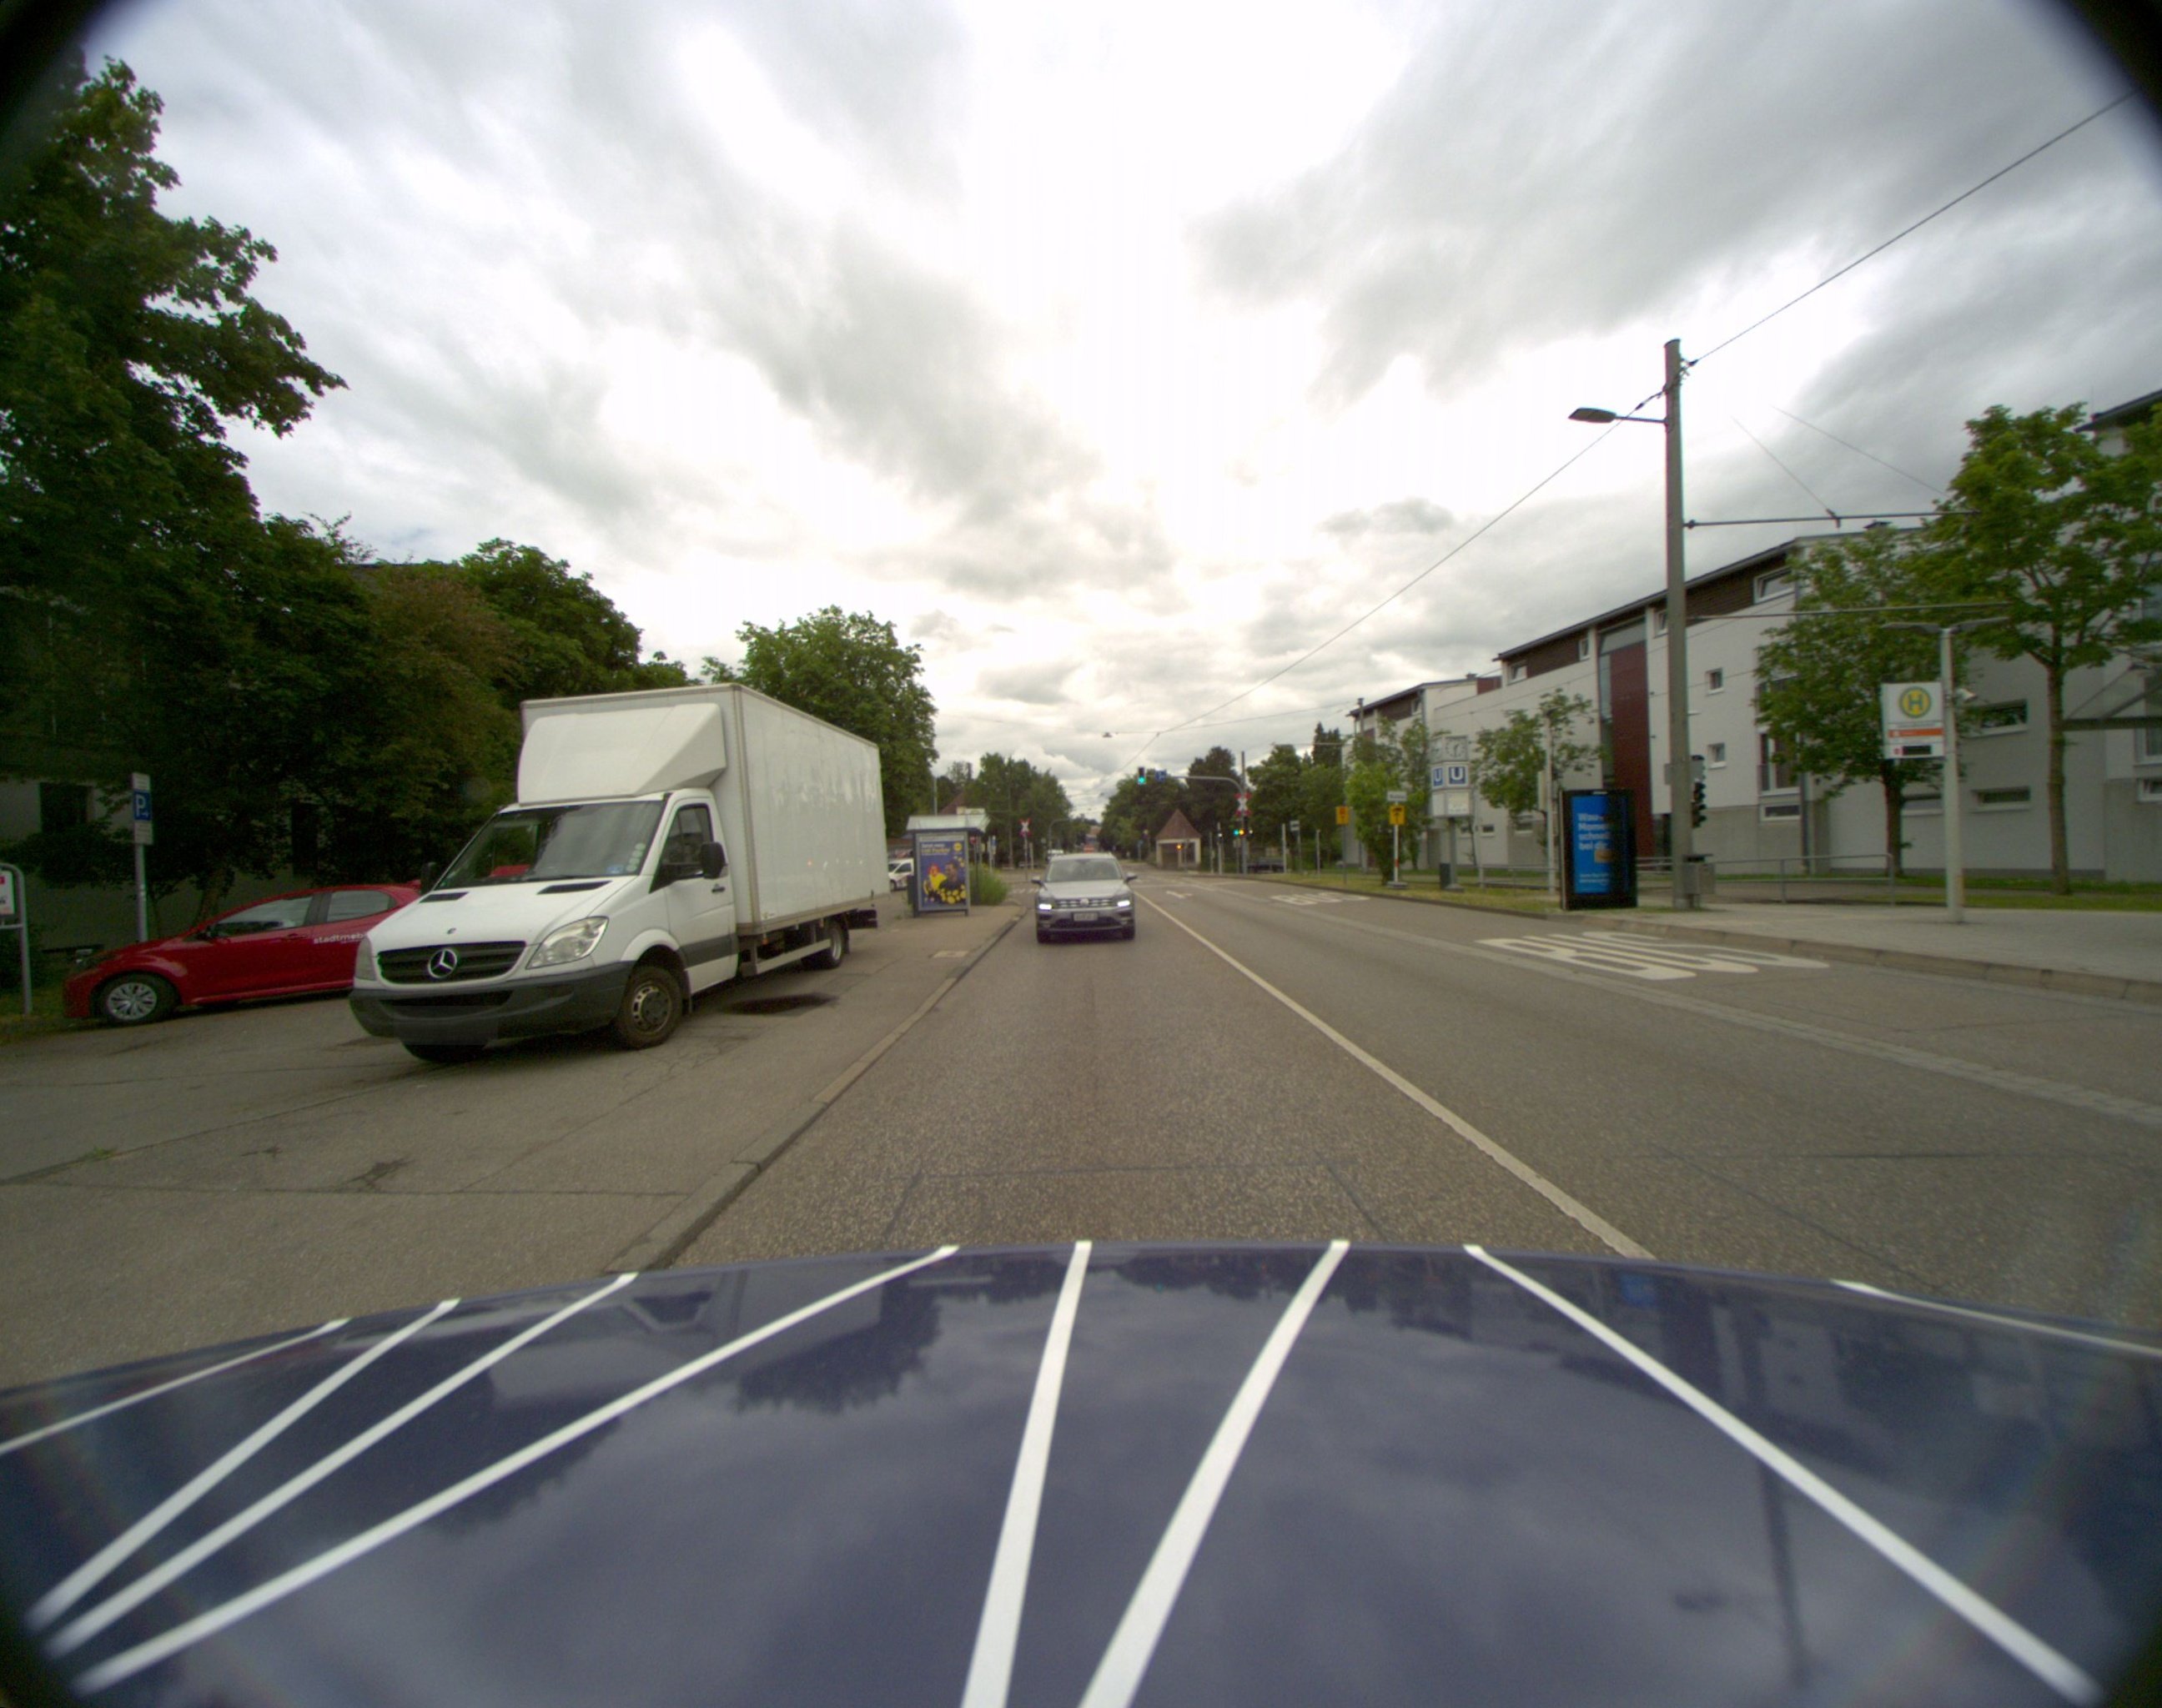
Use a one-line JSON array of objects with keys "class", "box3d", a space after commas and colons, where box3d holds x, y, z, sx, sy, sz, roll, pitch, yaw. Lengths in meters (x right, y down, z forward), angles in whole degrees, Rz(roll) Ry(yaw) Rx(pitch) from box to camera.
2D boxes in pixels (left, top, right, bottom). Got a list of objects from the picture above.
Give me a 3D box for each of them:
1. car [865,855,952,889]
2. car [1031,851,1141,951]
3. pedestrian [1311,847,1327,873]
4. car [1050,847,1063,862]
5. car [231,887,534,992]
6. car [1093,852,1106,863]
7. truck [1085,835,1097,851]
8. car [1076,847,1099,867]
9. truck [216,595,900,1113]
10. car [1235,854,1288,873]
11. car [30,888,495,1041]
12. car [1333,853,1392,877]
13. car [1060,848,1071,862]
[{"class": "car", "box3d": [-9.843, 1.017, 43.688, 1.846, 1.738, 4.705, -2, 0, 38]}, {"class": "car", "box3d": [-0.043, 0.808, 15.534, 1.835, 1.610, 4.486, -4, 1, -4]}, {"class": "pedestrian", "box3d": [15.339, 0.400, 49.002, 0.677, 1.634, 0.819, -1, -1, -6]}, {"class": "car", "box3d": [-4.331, 0.049, 130.916, 2.095, 2.589, 6.679, -1, 1, -3]}, {"class": "car", "box3d": [-12.713, 1.473, 14.203, 3.809, 1.465, 1.794, -3, 1, -30]}, {"class": "car", "box3d": [2.662, 0.494, 112.679, 1.744, 1.550, 4.182, -1, 0, -1]}, {"class": "truck", "box3d": [2.480, -2.698, 188.486, 2.776, 3.697, 8.466, 0, 0, -2]}, {"class": "car", "box3d": [0.555, 0.257, 67.321, 1.811, 1.736, 3.999, -2, 0, -2]}, {"class": "truck", "box3d": [-4.562, 0.009, 9.176, 2.579, 3.504, 7.810, -2, 0, 1]}, {"class": "car", "box3d": [17.255, 0.887, 72.550, 4.488, 1.660, 1.964, 1, 0, -7]}, {"class": "car", "box3d": [-10.171, 1.281, 9.885, 3.734, 1.437, 1.605, -3, 0, -26]}, {"class": "car", "box3d": [25.257, 0.965, 68.273, 4.469, 2.002, 1.999, 2, 0, -7]}, {"class": "car", "box3d": [-2.934, 0.100, 146.268, 2.046, 2.588, 5.966, -1, 1, 0]}]
